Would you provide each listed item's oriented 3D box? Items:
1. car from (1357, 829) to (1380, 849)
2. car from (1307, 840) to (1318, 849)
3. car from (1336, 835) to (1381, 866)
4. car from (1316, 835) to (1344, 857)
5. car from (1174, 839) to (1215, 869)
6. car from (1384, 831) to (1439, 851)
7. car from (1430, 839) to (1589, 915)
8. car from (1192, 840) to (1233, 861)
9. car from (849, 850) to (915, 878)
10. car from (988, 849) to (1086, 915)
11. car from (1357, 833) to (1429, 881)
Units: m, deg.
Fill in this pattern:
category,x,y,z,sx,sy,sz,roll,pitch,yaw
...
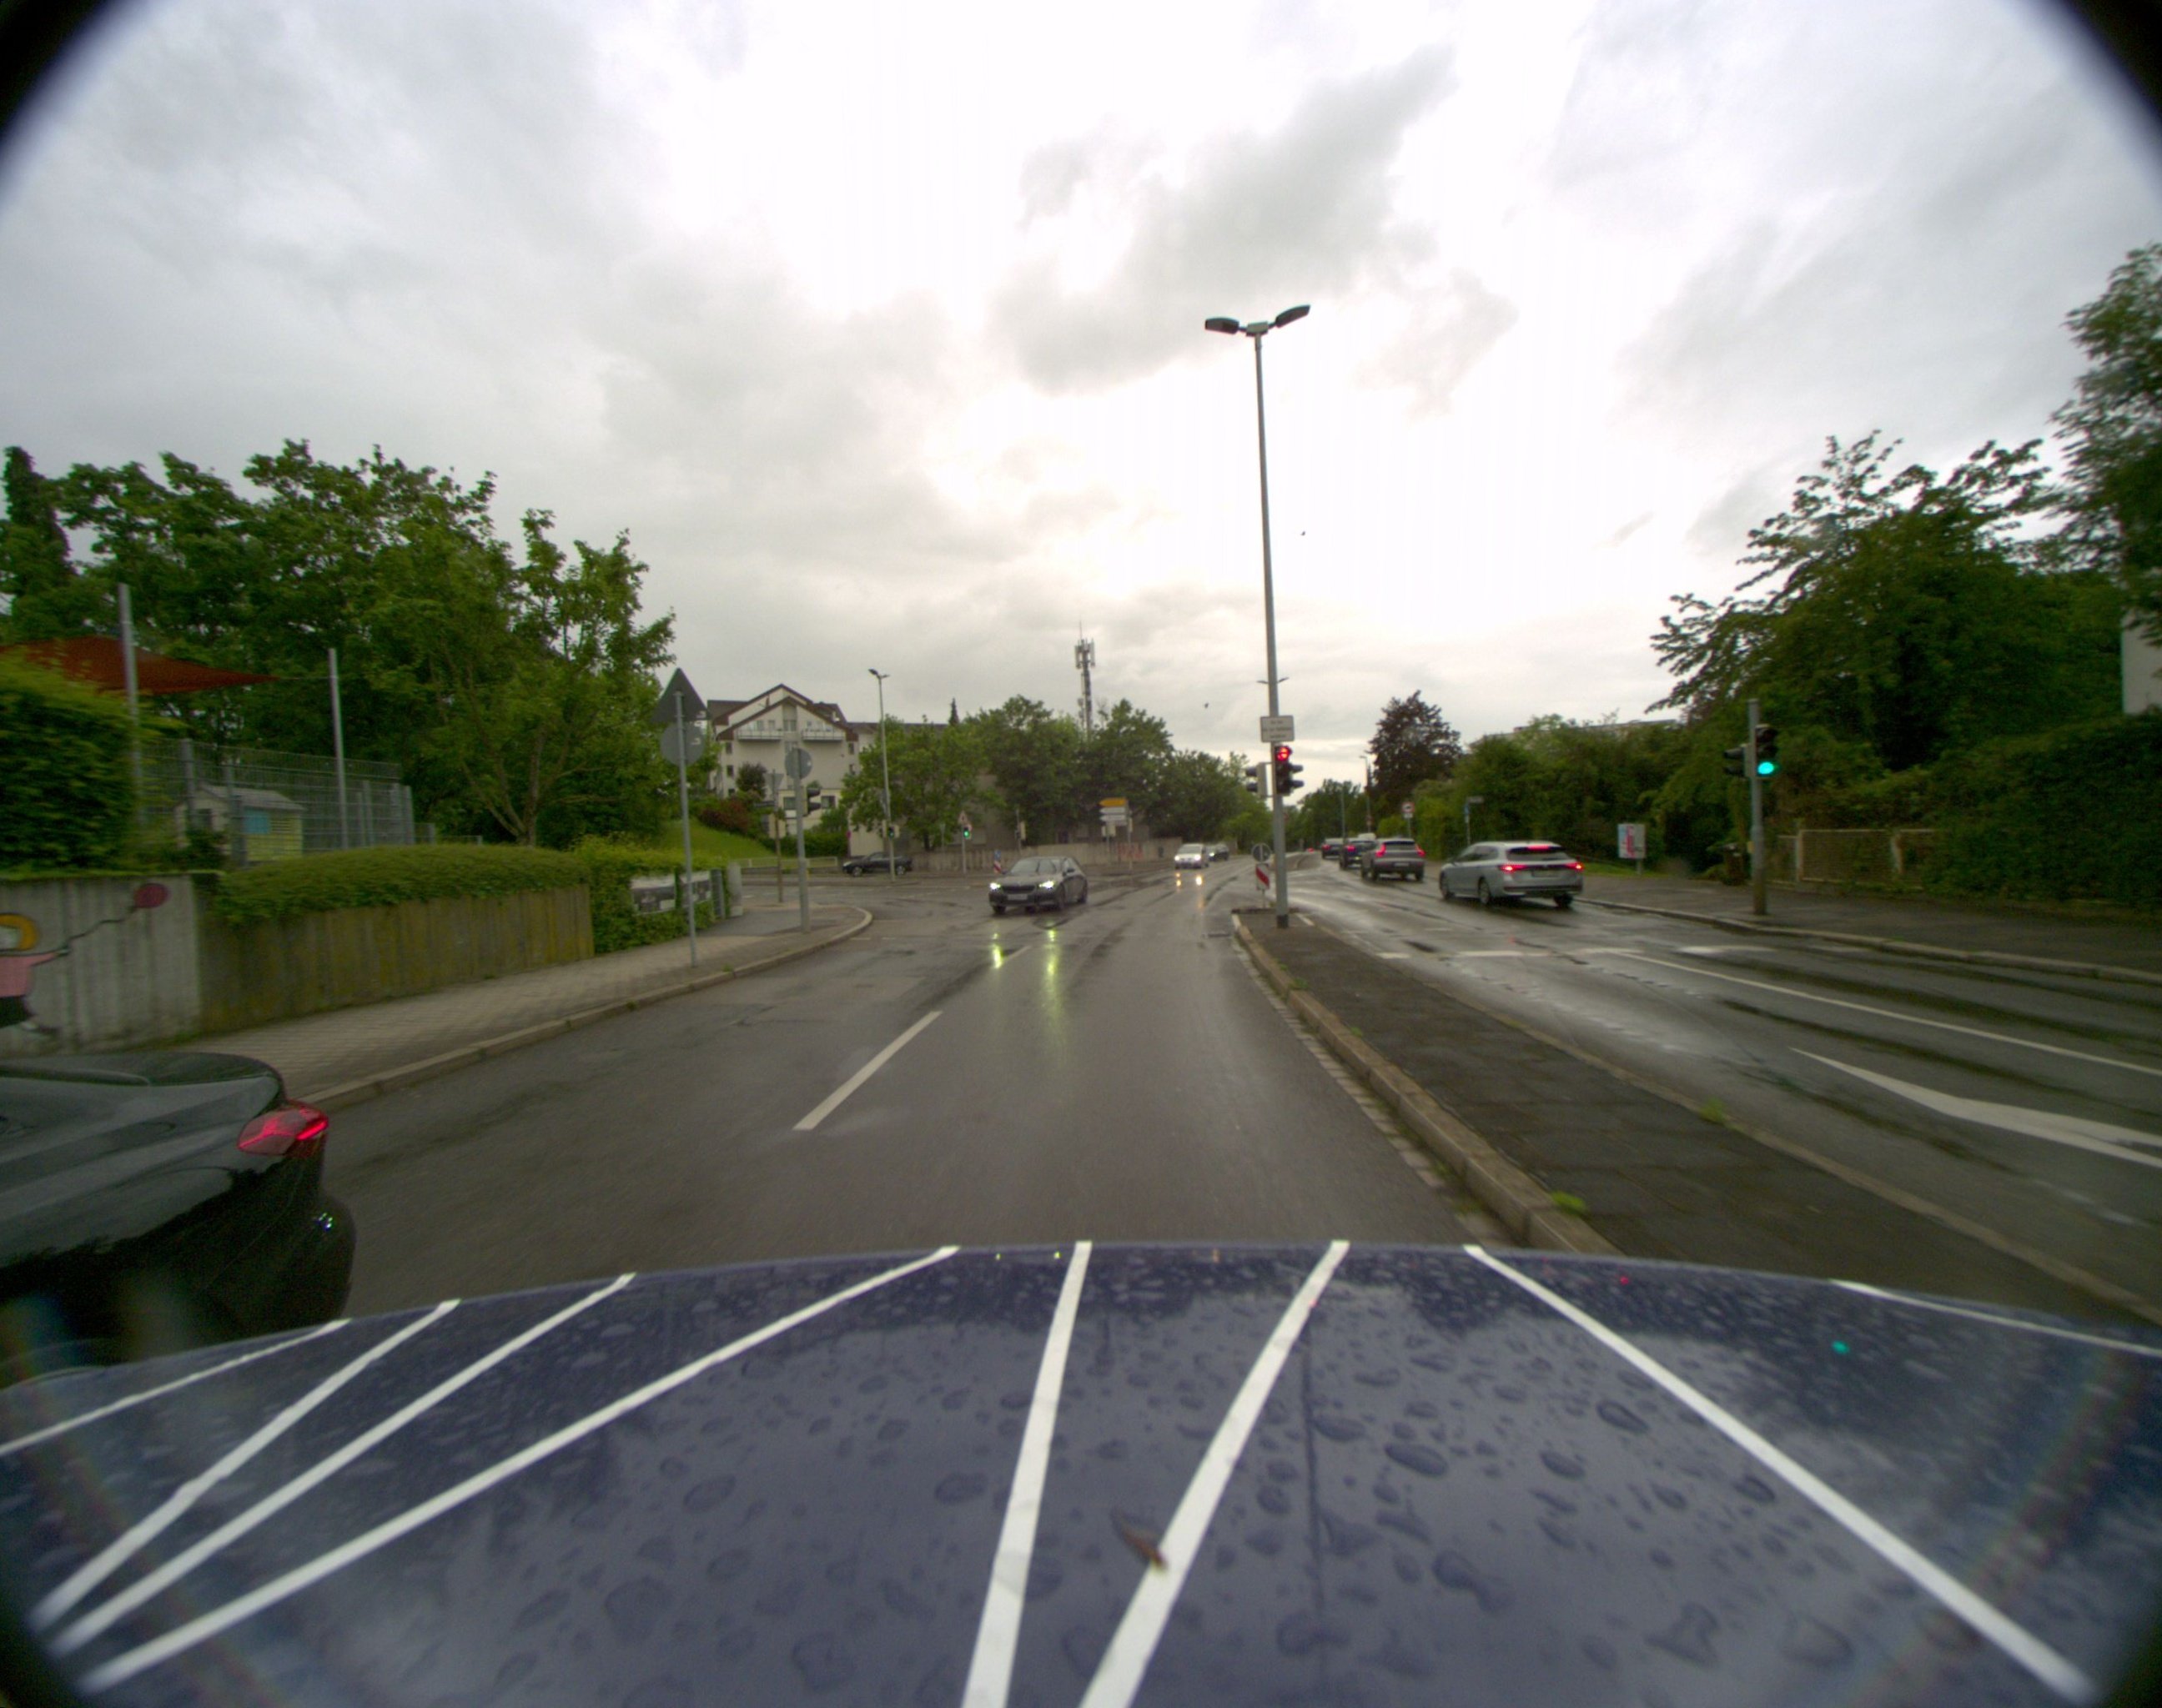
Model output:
category,x,y,z,sx,sy,sz,roll,pitch,yaw
car,27.882,-1.478,73.838,1.818,1.707,4.003,-2,2,17
car,43.009,-1.748,141.096,1.818,1.448,4.003,-2,2,17
car,15.090,-0.237,41.471,1.867,1.545,4.450,0,2,14
car,18.573,-0.633,56.755,1.867,1.468,4.450,0,2,16
car,7.280,-0.031,48.390,1.996,1.647,4.003,-2,2,17
car,27.216,-1.106,62.669,3.884,1.448,1.769,-2,2,15
car,9.989,0.451,18.160,1.679,1.442,4.689,-2,2,8
car,11.553,-0.331,66.463,1.994,1.647,4.233,-1,2,33
car,-12.815,0.627,49.053,4.002,1.543,1.692,-3,2,-15
car,-1.122,0.710,21.388,1.871,1.510,4.001,-2,2,9
car,12.469,0.073,30.621,1.886,1.668,4.234,-2,2,12
